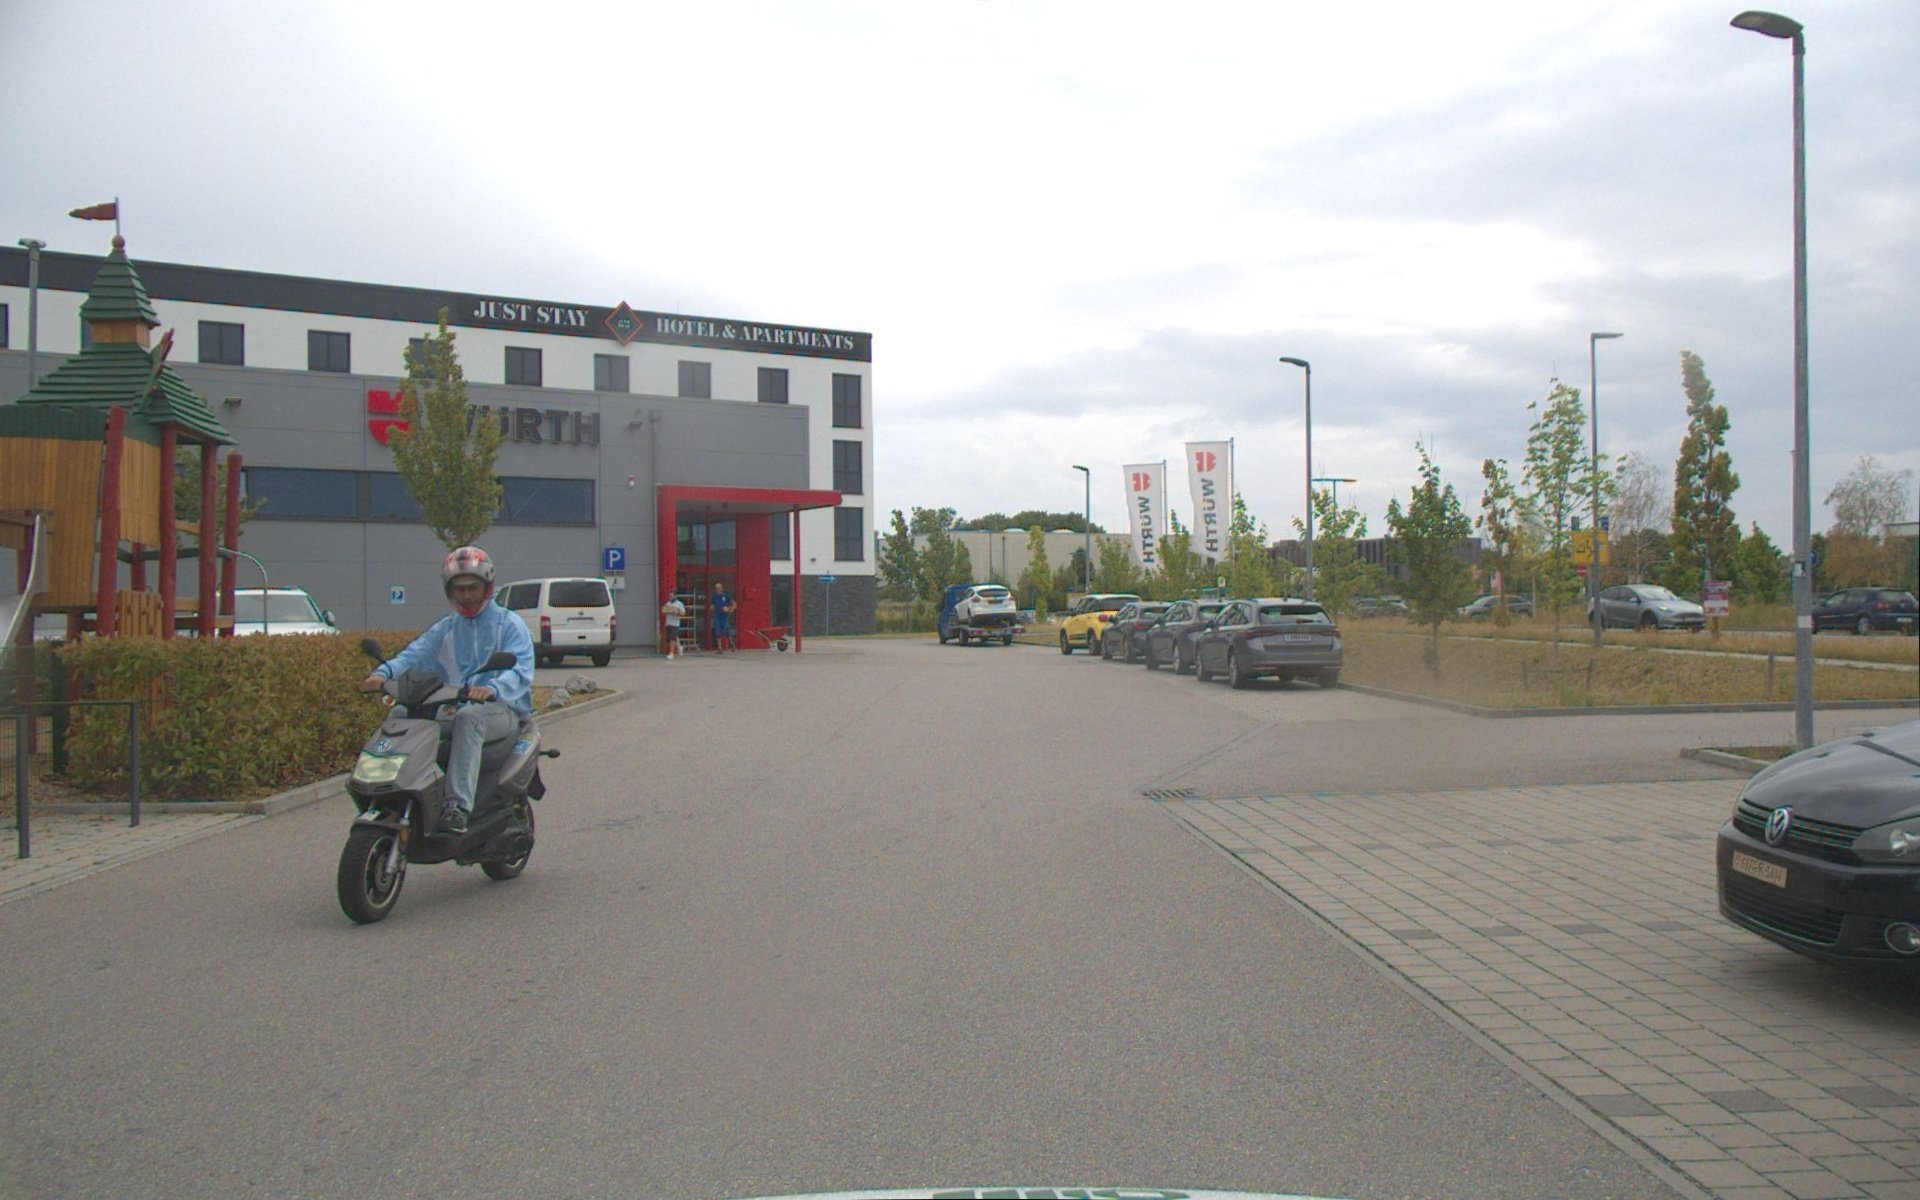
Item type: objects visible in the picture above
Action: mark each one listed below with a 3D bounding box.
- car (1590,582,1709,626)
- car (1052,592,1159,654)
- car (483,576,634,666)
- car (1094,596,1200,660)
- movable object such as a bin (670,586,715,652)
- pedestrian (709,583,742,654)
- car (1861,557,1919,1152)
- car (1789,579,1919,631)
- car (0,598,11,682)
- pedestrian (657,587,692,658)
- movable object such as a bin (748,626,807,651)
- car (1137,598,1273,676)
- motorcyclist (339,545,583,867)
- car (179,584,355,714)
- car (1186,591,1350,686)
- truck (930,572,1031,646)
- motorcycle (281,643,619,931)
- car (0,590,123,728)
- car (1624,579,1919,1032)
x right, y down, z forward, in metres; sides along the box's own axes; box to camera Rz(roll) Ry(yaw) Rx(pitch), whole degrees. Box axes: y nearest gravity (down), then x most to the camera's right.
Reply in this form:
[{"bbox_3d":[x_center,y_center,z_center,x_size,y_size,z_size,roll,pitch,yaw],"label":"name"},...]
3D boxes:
[{"bbox_3d":[23.466,0.133,56.482,1.729,1.419,4.551,-1,0,-7],"label":"car"},{"bbox_3d":[4.095,0.653,47.016,1.825,1.679,3.985,1,-1,-14],"label":"car"},{"bbox_3d":[-9.318,0.484,38.198,2.038,1.887,4.012,-3,0,-35],"label":"car"},{"bbox_3d":[4.529,0.663,40.581,1.718,1.495,4.102,0,0,-6],"label":"car"},{"bbox_3d":[-7.105,0.504,43.909,0.901,1.701,0.735,-4,1,-32],"label":"movable object such as a bin"},{"bbox_3d":[-6.155,0.481,43.468,0.662,1.834,0.881,-1,0,4],"label":"pedestrian"},{"bbox_3d":[4.614,0.659,3.784,4.117,1.571,1.864,0,0,-3],"label":"car"},{"bbox_3d":[28.400,0.165,52.389,1.885,1.512,4.418,-2,0,-3],"label":"car"},{"bbox_3d":[-19.749,0.828,32.626,1.719,1.579,4.220,-2,0,-30],"label":"car"},{"bbox_3d":[-7.274,0.572,42.176,0.610,1.782,0.906,-1,0,9],"label":"pedestrian"},{"bbox_3d":[-5.249,1.110,47.541,1.470,0.716,0.957,1,-1,-27],"label":"movable object such as a bin"},{"bbox_3d":[4.979,0.720,34.226,1.718,1.495,4.470,0,0,-6],"label":"car"},{"bbox_3d":[-2.479,0.508,8.309,0.810,1.515,0.942,-1,-1,11],"label":"motorcyclist"},{"bbox_3d":[-10.347,0.692,24.485,1.971,1.679,4.535,-2,0,-28],"label":"car"},{"bbox_3d":[5.202,0.621,28.529,1.717,1.495,4.472,0,0,-4],"label":"car"},{"bbox_3d":[0.686,0.442,63.302,2.290,2.449,7.873,1,-3,-11],"label":"truck"},{"bbox_3d":[-2.475,0.853,8.304,0.775,1.229,1.923,-1,-1,12],"label":"motorcycle"},{"bbox_3d":[-12.704,0.784,22.794,1.971,1.679,4.535,-2,0,-28],"label":"car"},{"bbox_3d":[4.932,0.643,6.432,3.979,1.485,1.776,-1,1,-1],"label":"car"}]
